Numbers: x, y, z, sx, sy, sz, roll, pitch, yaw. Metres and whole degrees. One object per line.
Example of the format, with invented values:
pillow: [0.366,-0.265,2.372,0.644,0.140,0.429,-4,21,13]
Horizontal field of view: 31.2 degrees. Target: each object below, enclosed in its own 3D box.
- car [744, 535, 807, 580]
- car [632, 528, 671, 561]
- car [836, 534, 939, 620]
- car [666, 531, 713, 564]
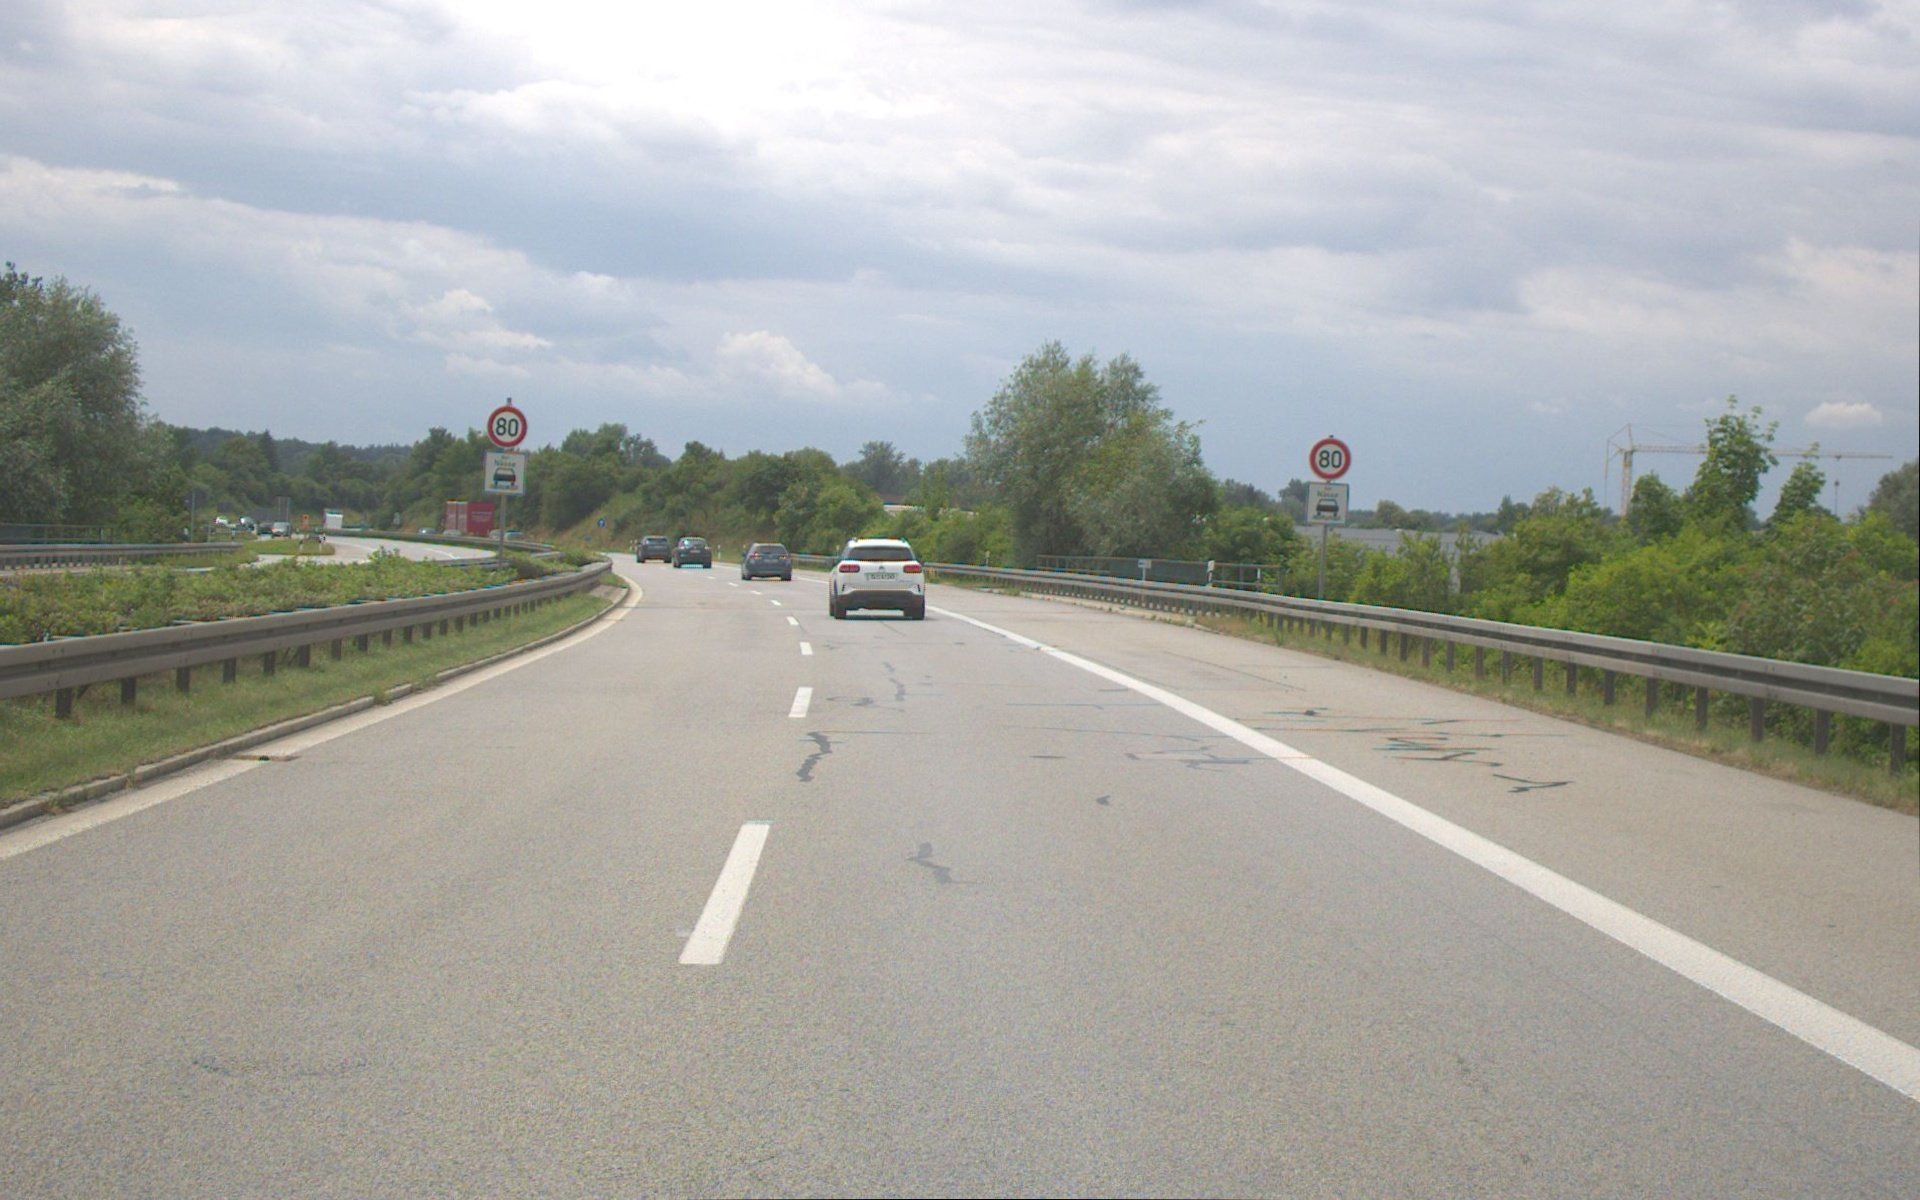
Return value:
car: [-7.137,-1.656,132.797,1.892,1.634,4.623,1,1,-10]
car: [-18.158,-3.294,202.099,1.826,1.787,4.415,3,1,-10]
car: [-1.550,-0.504,71.656,1.902,1.634,4.397,2,1,-3]
car: [-13.927,-2.712,176.819,1.902,1.634,4.781,2,1,-11]
